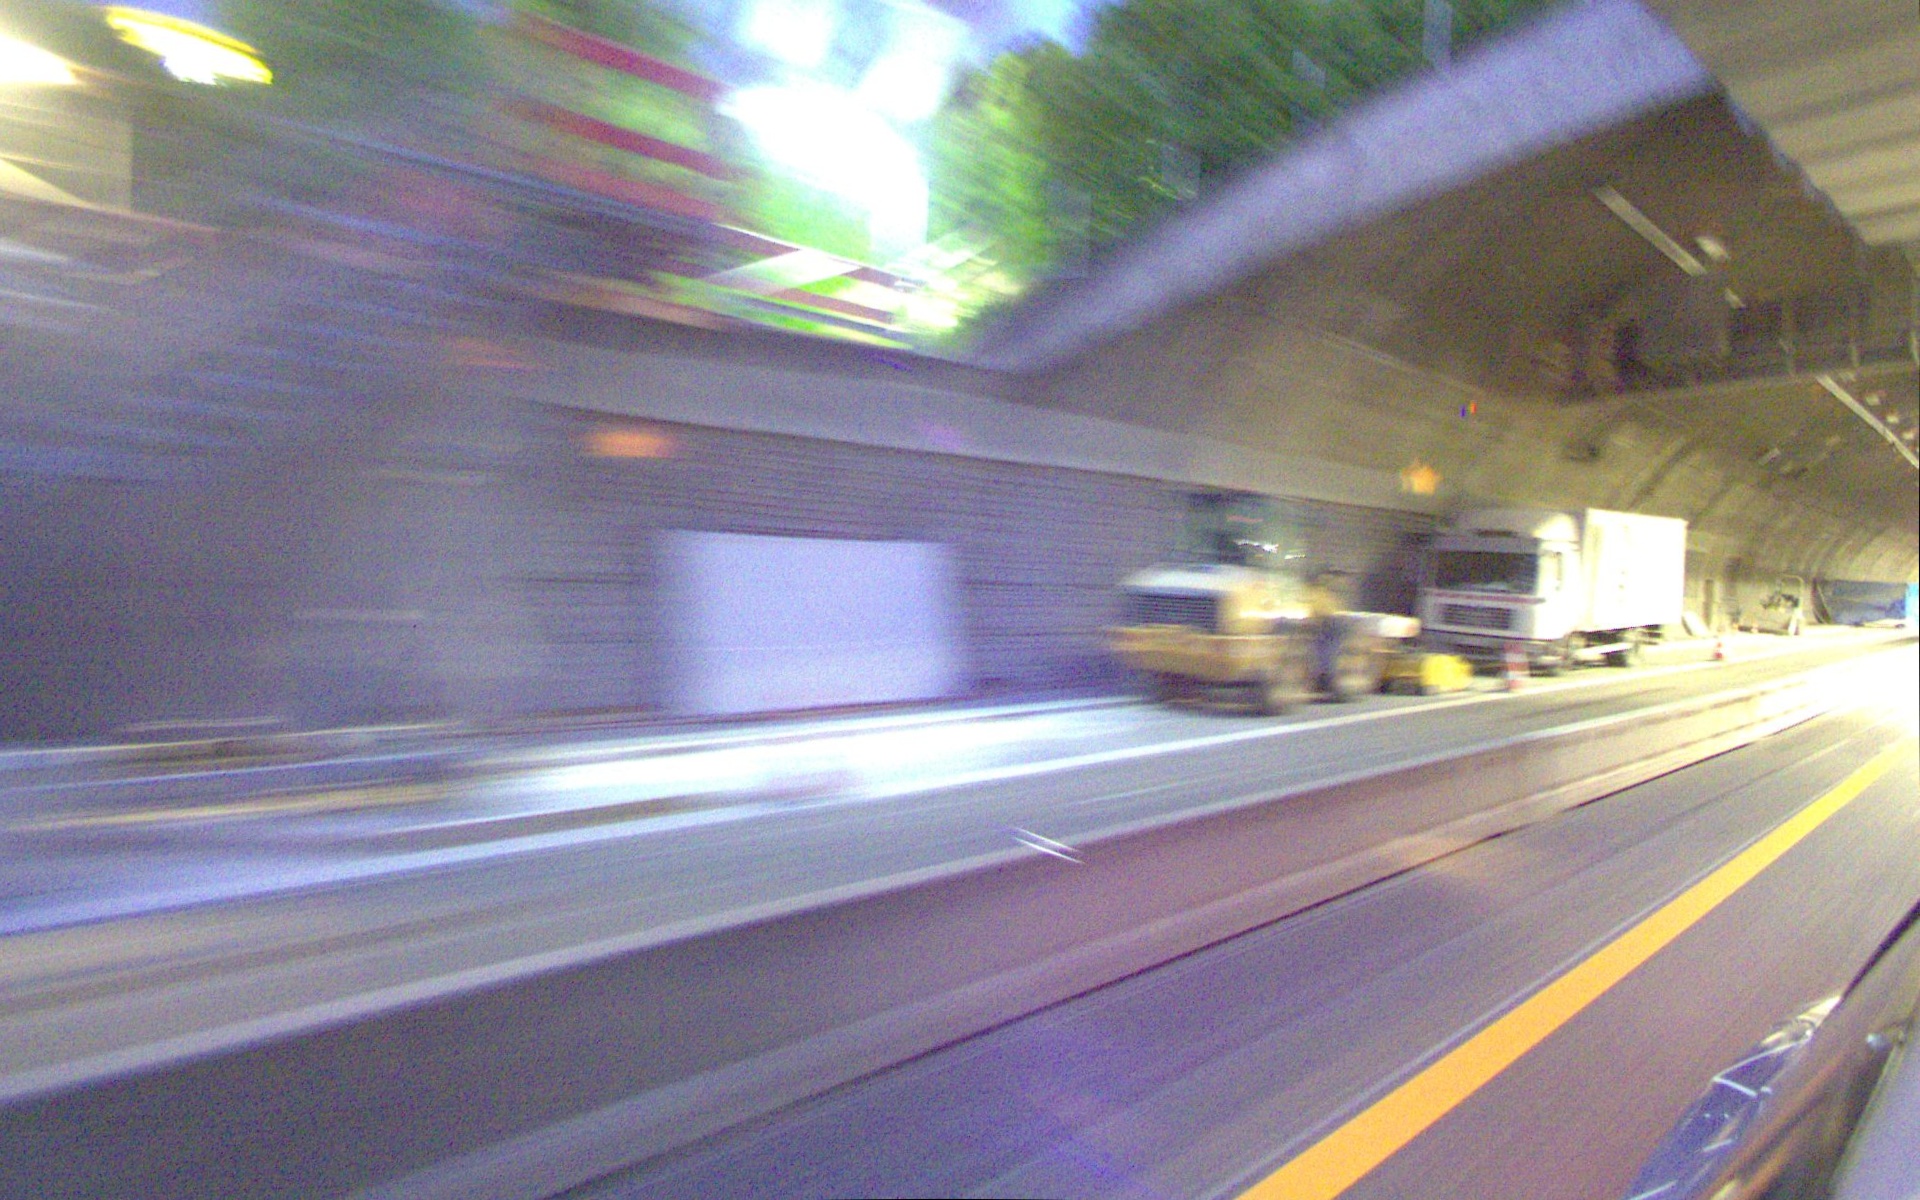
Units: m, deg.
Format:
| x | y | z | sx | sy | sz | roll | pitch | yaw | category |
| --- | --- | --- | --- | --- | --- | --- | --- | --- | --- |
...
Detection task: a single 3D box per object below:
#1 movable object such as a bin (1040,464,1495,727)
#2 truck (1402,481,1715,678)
| x | y | z | sx | sy | sz | roll | pitch | yaw | category |
| --- | --- | --- | --- | --- | --- | --- | --- | --- | --- |
| 4.675 | -0.086 | 14.503 | 7.072 | 2.863 | 2.974 | -1 | 0 | -41 | movable object such as a bin |
| 12.494 | -0.385 | 20.737 | 8.202 | 3.327 | 2.824 | -1 | 0 | -39 | truck |
